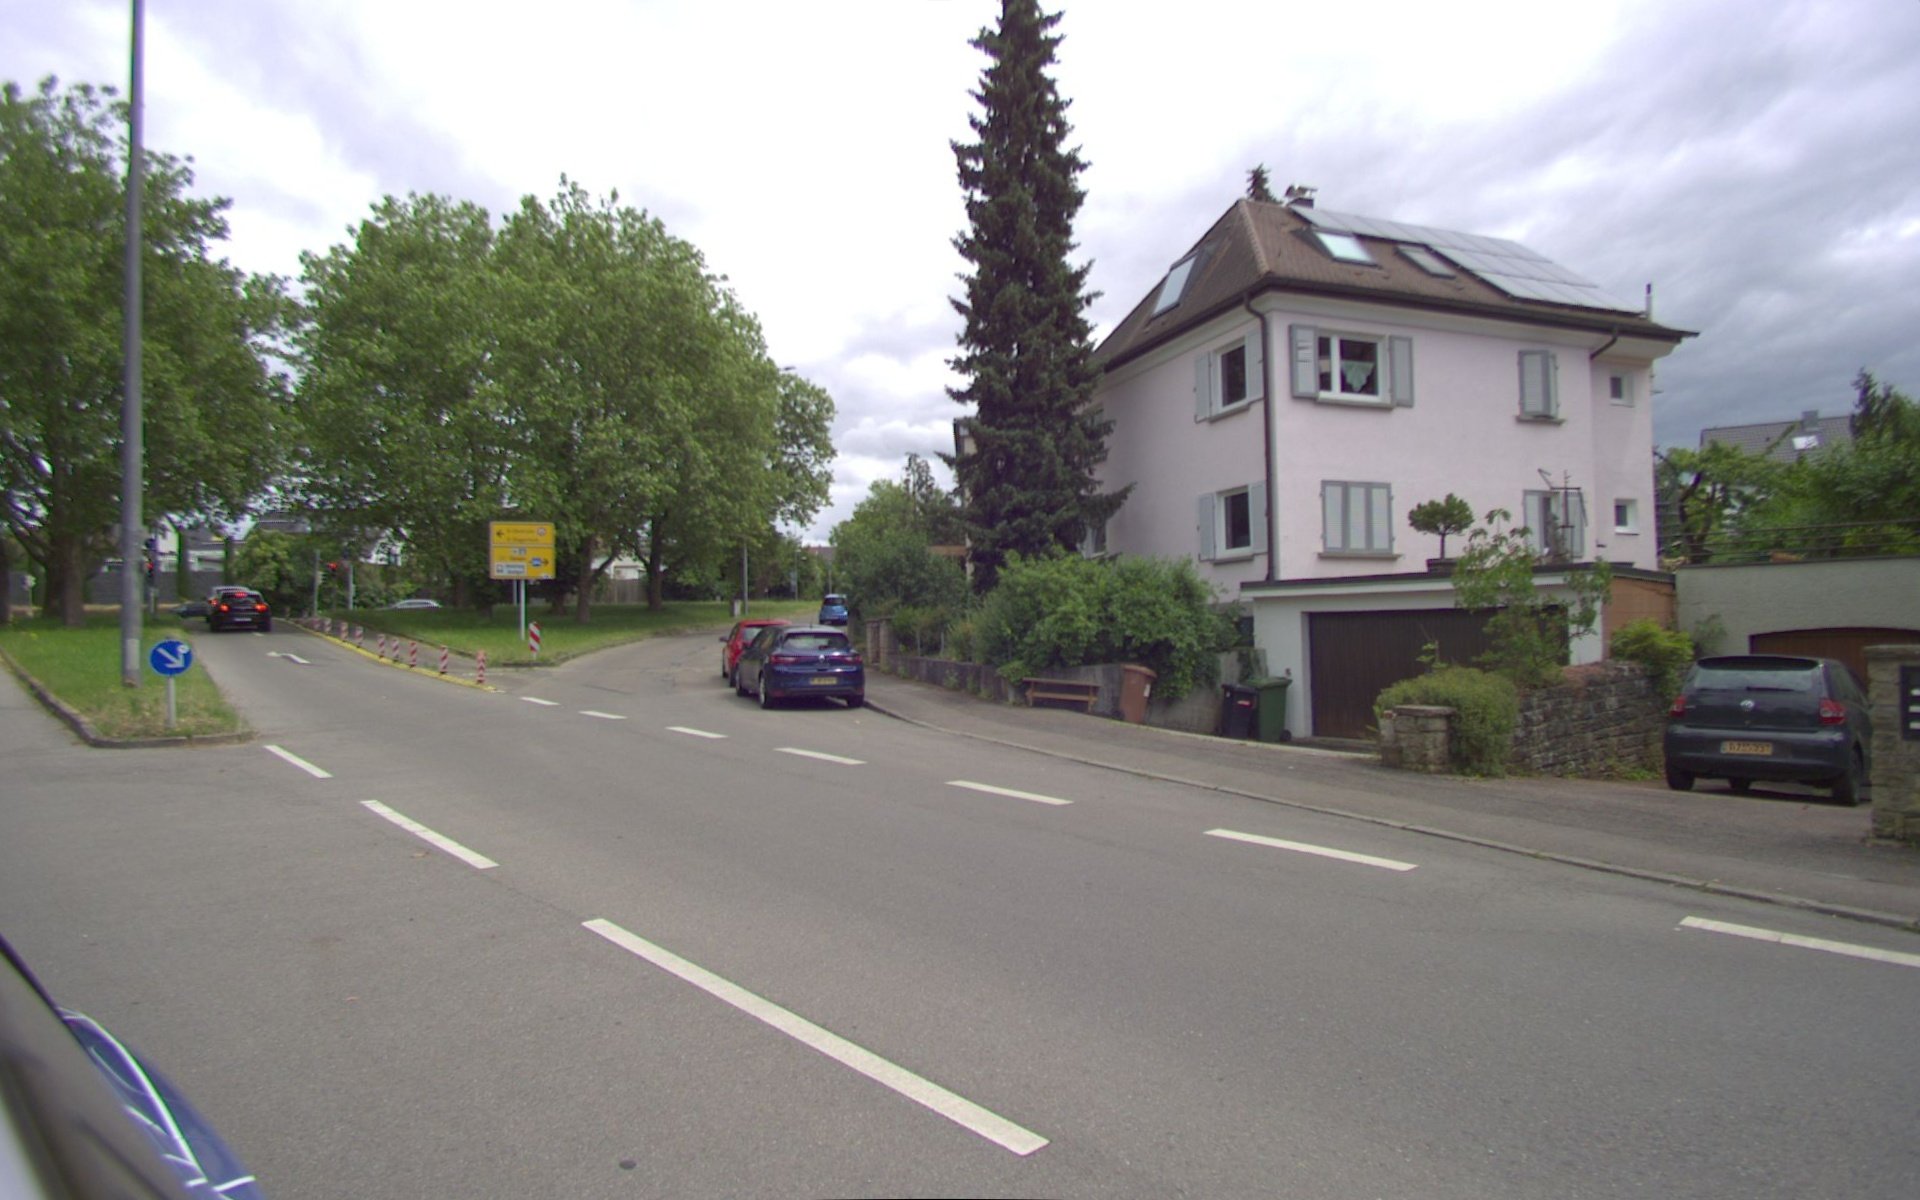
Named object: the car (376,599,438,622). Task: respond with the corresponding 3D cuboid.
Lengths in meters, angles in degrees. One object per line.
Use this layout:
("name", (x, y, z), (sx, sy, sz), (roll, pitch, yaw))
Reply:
("car", (-39.278, 0.735, 71.928), (3.584, 1.542, 1.655), (0, -3, -17))

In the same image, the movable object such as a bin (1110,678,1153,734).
("movable object such as a bin", (2.713, 1.675, 16.046), (0.588, 0.842, 0.313), (-2, -2, 42))

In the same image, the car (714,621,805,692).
("car", (-4.822, 1.266, 23.966), (1.703, 1.485, 4.291), (0, -1, -17))

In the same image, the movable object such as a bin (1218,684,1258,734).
("movable object such as a bin", (4.595, 1.799, 16.721), (0.545, 0.777, 0.313), (-2, -2, 42))

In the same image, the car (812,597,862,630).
("car", (-6.497, 0.700, 53.744), (1.761, 1.566, 3.772), (-3, 1, 6))

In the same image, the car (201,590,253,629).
("car", (-35.482, 0.484, 48.940), (1.827, 1.671, 4.916), (0, -2, -38))

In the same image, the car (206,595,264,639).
("car", (-29.474, 0.625, 41.112), (1.734, 1.603, 4.623), (0, 2, -38))

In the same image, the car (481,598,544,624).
("car", (-29.507, 0.726, 66.892), (3.584, 1.535, 1.655), (2, -4, -17))

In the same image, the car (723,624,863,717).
("car", (-3.239, 1.212, 18.894), (1.703, 1.485, 4.329), (0, -1, -22))

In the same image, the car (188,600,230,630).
("car", (-40.708, 0.778, 54.837), (1.734, 1.529, 4.396), (0, 0, -38))

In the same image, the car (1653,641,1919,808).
("car", (9.294, 1.371, 11.189), (3.312, 1.549, 1.832), (8, -8, -39))

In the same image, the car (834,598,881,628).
("car", (-5.877, 0.716, 58.491), (1.643, 1.525, 3.986), (-3, 1, 9))
